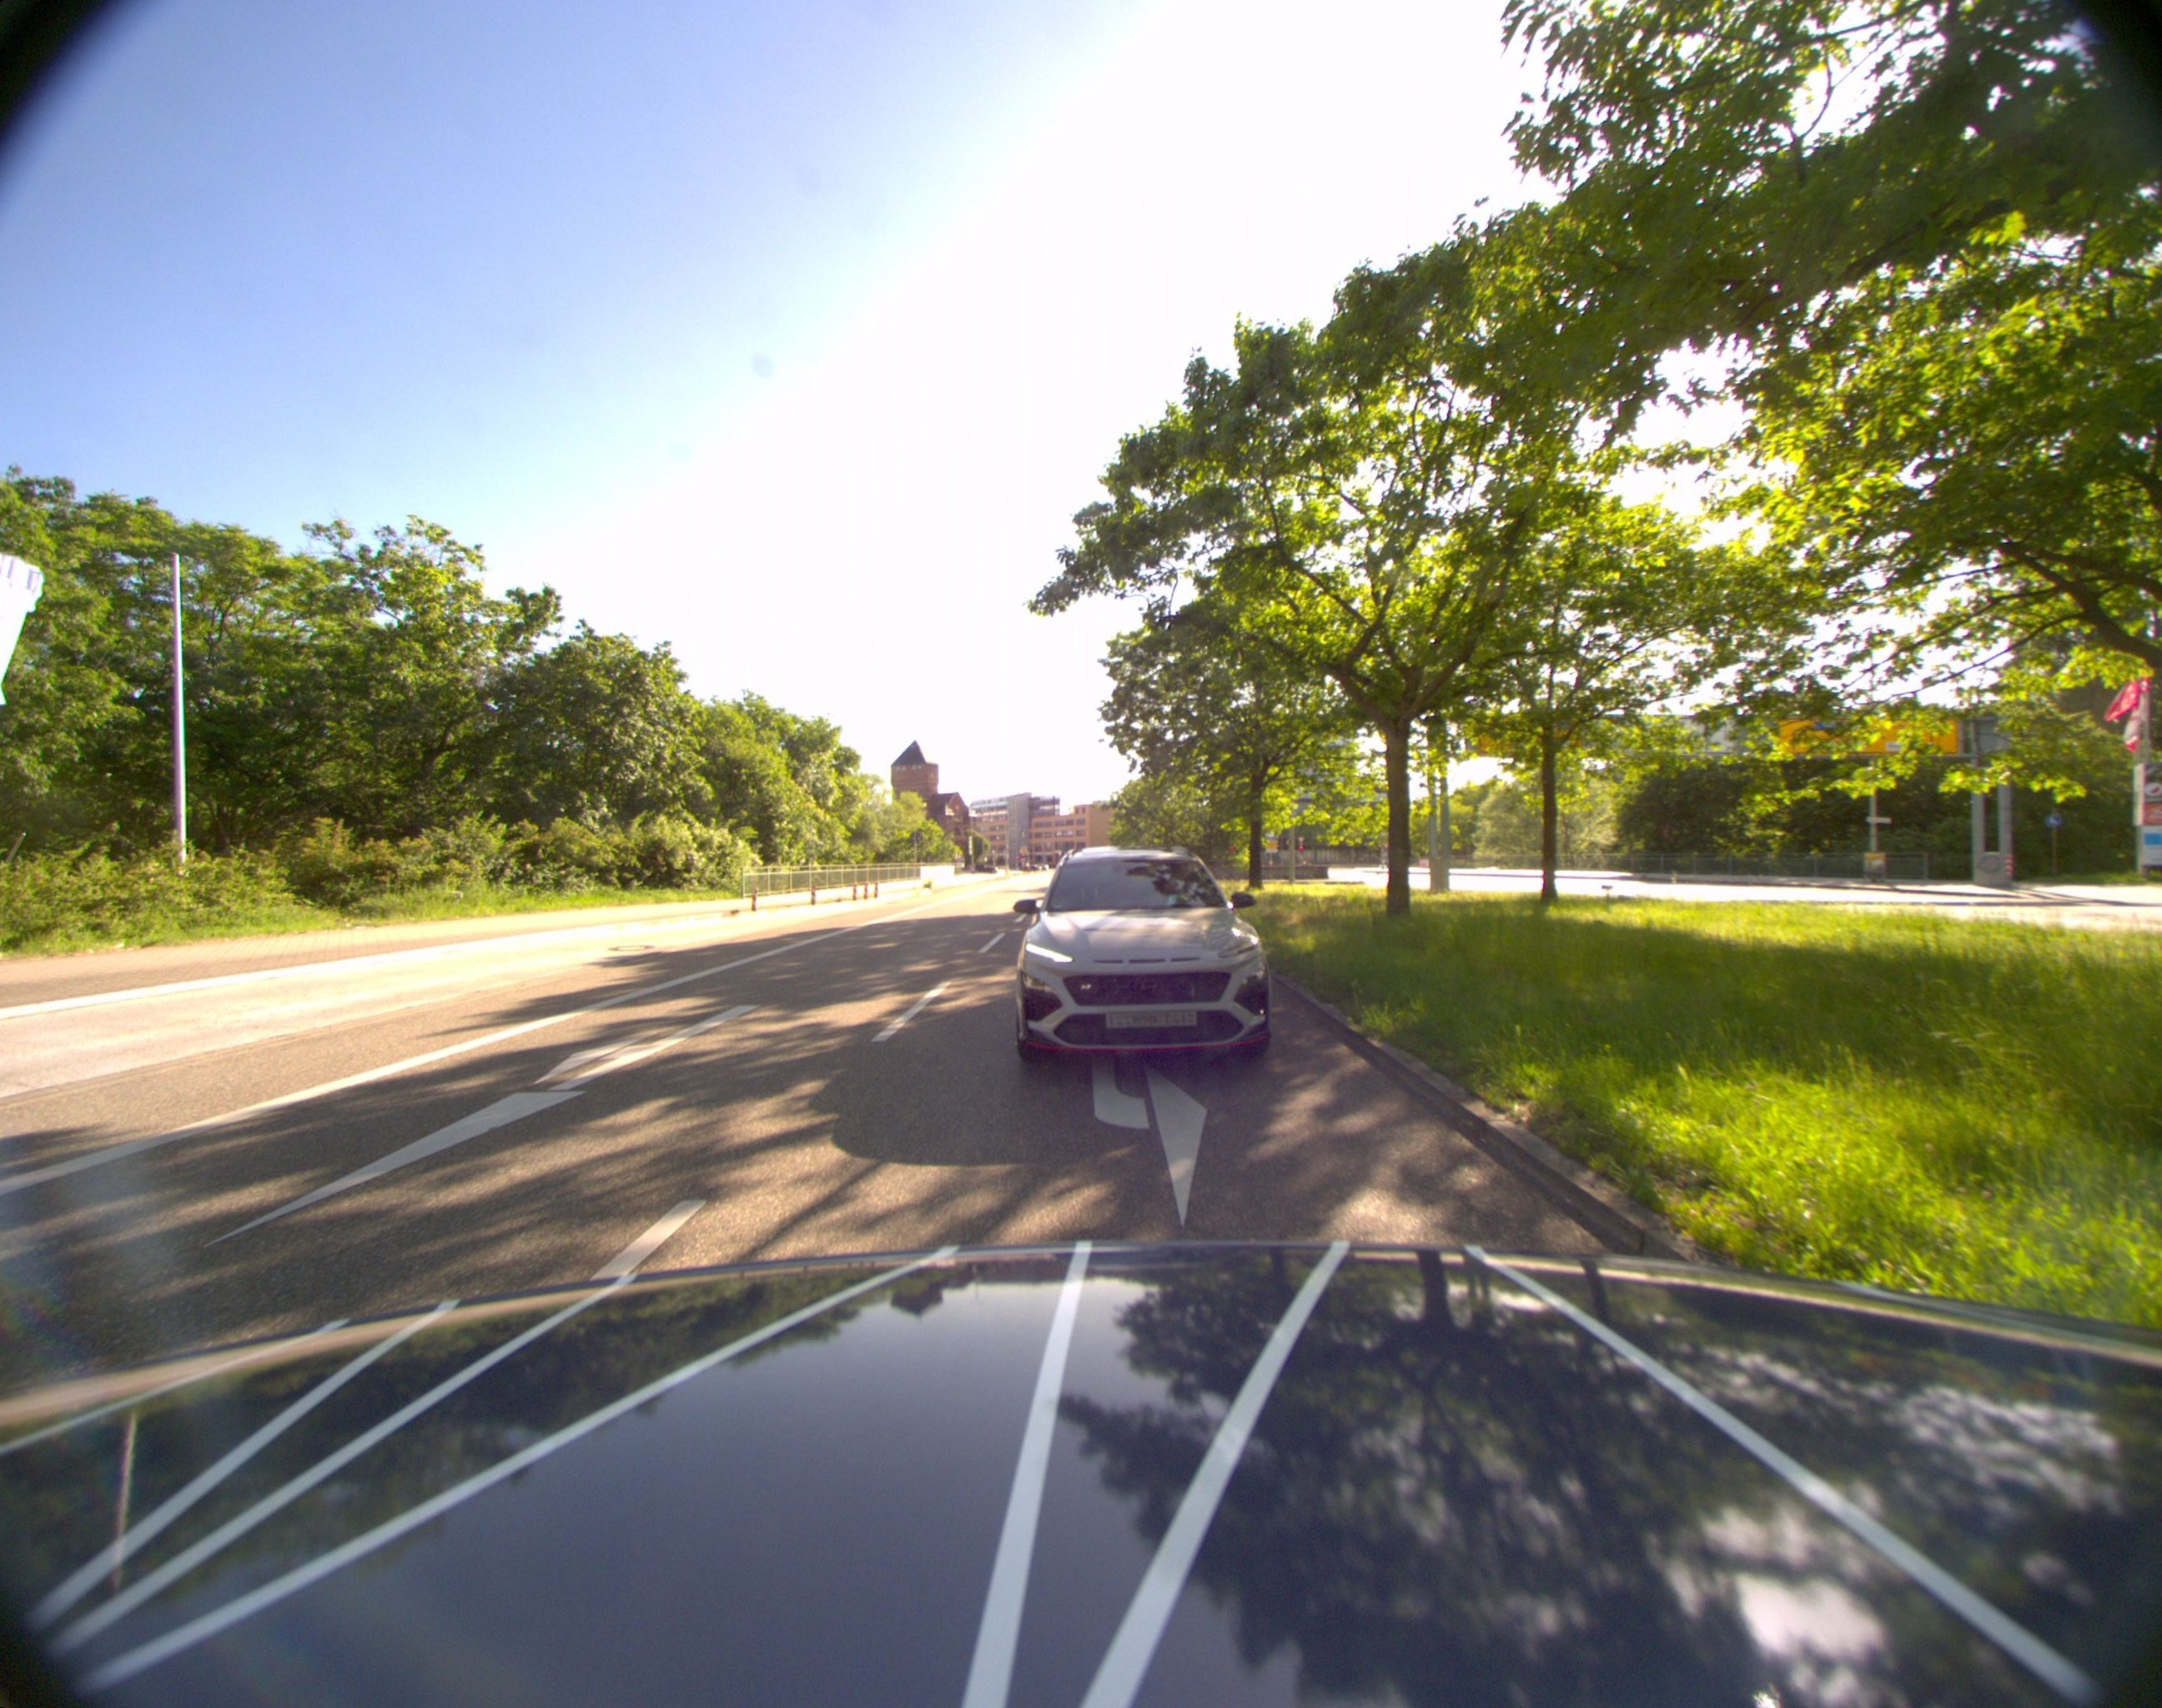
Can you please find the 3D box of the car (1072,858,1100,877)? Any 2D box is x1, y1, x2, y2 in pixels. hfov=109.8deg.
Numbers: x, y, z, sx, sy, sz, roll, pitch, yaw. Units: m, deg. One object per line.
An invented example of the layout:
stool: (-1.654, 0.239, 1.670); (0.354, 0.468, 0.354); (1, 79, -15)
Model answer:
car: (0.430, 1.173, 66.616); (1.999, 1.595, 4.209); (-1, 0, -6)

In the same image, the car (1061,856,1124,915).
car: (0.375, 0.874, 22.887); (1.678, 1.499, 3.948); (-2, 1, 2)

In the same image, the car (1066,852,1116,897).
car: (0.422, 0.753, 30.529); (1.833, 1.638, 4.000); (-1, 0, 1)

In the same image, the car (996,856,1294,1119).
car: (0.407, 0.818, 6.594); (1.780, 1.542, 3.980); (-1, 0, 0)

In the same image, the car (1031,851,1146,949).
car: (0.297, 0.766, 14.652); (1.744, 1.539, 4.002); (-4, 0, 6)
